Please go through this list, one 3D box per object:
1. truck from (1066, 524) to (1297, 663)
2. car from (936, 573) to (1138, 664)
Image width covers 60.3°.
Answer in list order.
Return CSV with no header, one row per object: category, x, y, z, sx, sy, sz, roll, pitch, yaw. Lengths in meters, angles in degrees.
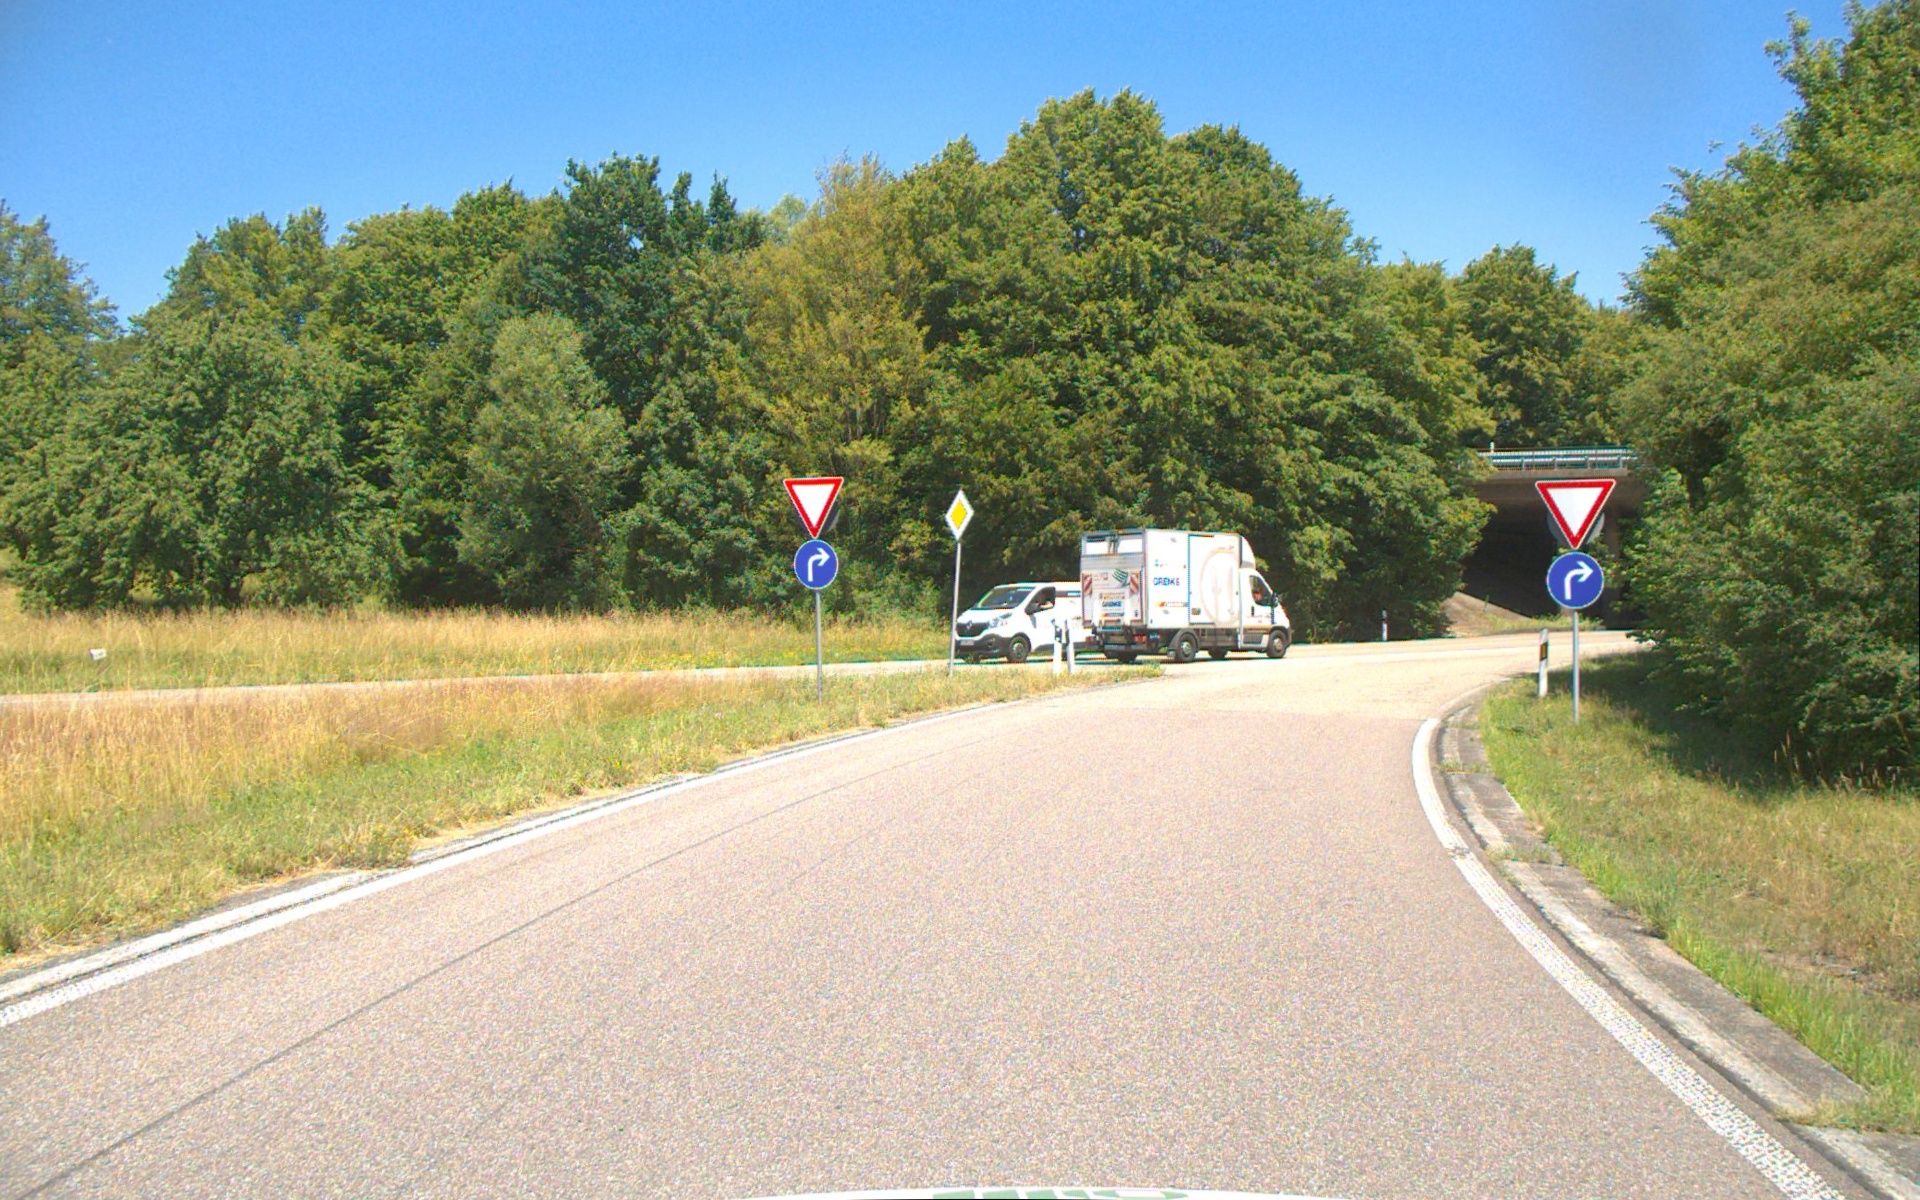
truck,5.287,-0.142,38.859,5.847,3.037,2.212,0,-1,-43
car,1.993,0.423,41.421,5.354,1.995,1.884,-3,1,-44
